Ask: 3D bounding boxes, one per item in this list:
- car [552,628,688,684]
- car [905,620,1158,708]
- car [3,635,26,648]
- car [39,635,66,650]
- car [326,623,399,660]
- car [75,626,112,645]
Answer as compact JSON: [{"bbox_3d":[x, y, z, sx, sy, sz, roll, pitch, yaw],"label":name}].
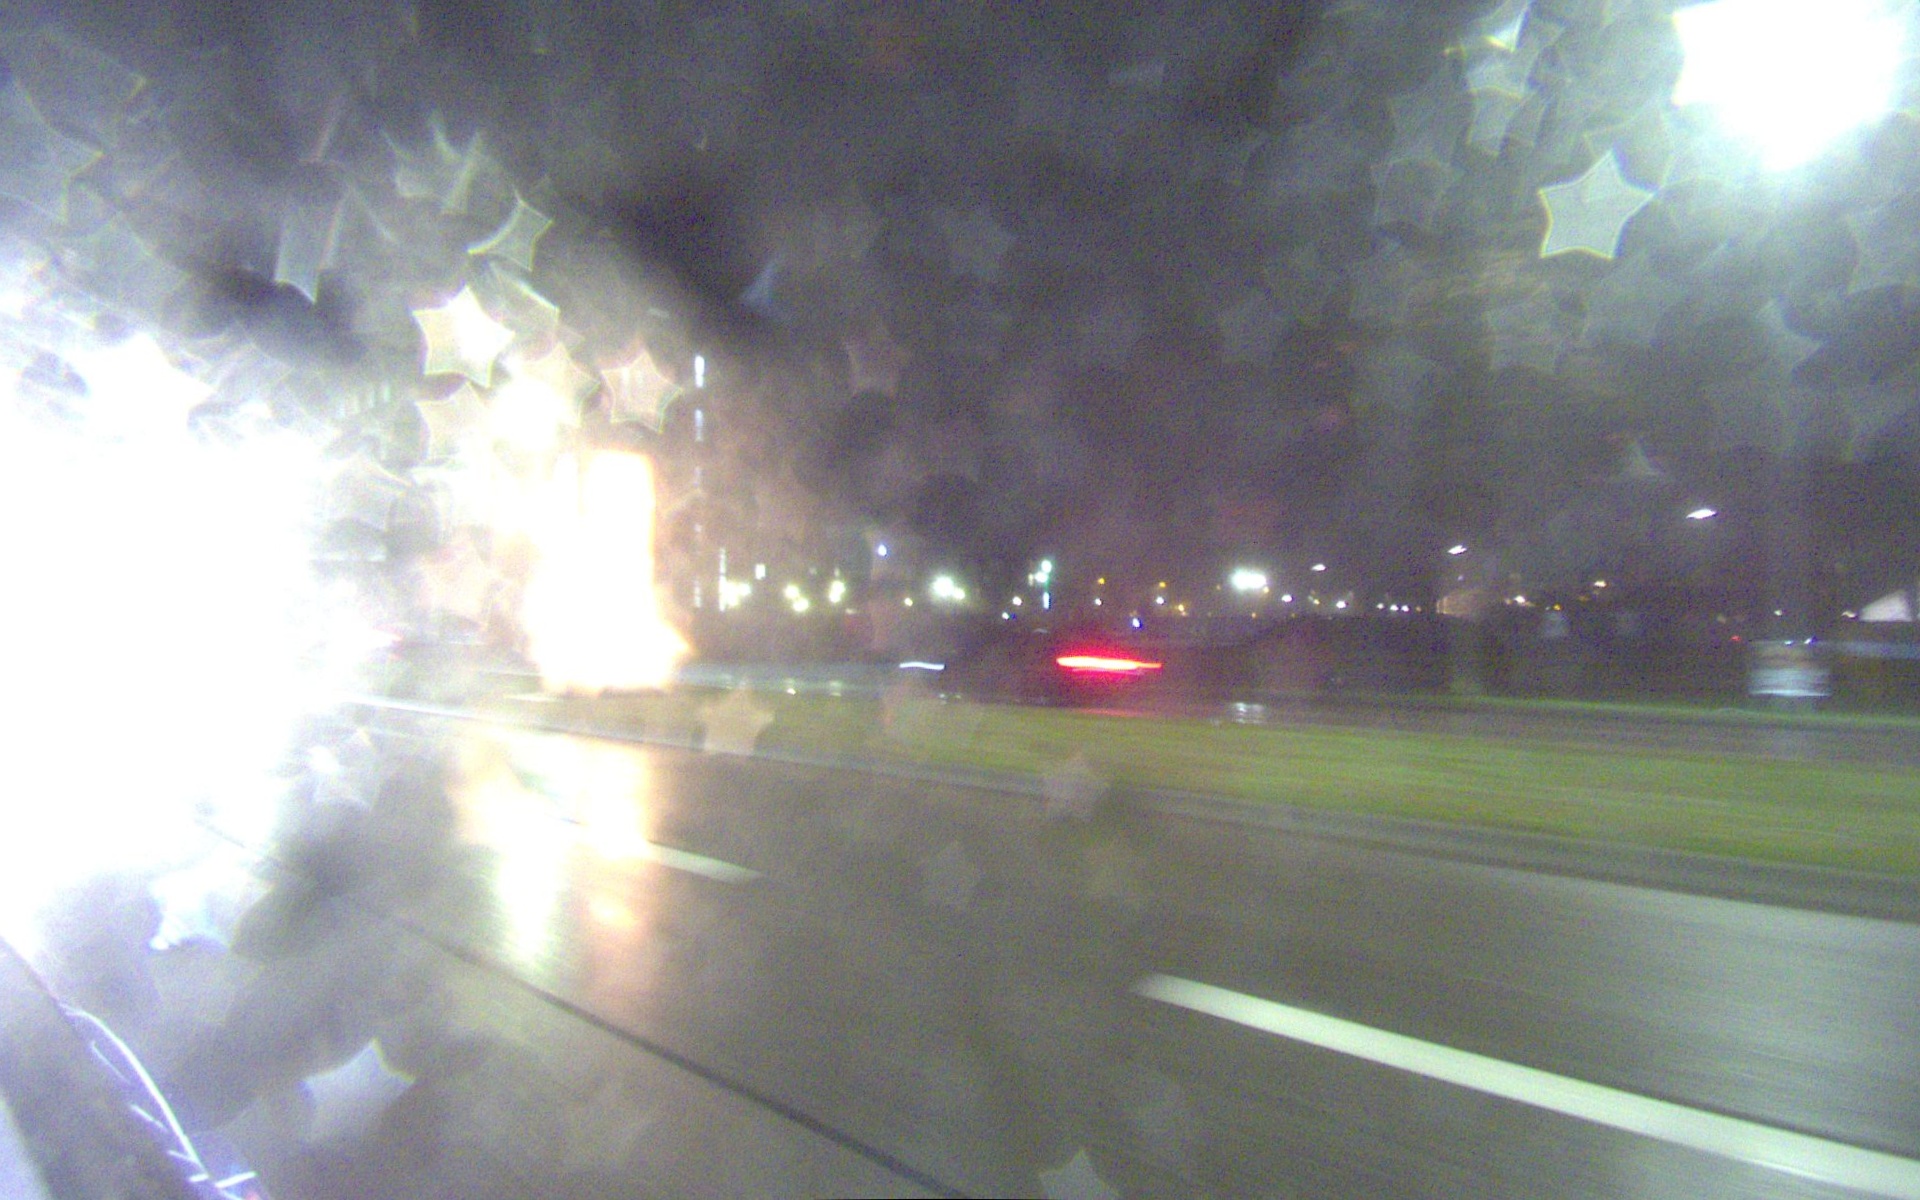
[{"bbox_3d":[-9.817,1.566,29.112,3.995,1.475,1.811,-2,-1,38],"label":"car"},{"bbox_3d":[1.276,1.162,19.436,4.654,1.475,1.811,-2,-1,39],"label":"car"},{"bbox_3d":[-123.477,5.436,132.145,4.364,1.604,1.823,-2,-1,42],"label":"car"},{"bbox_3d":[-104.143,4.902,116.125,4.364,1.604,1.823,-2,-1,42],"label":"car"},{"bbox_3d":[-29.773,2.020,50.352,4.438,1.726,1.810,-2,-1,41],"label":"car"},{"bbox_3d":[-82.775,3.397,96.661,4.545,1.697,2.004,-2,-1,40],"label":"car"}]
